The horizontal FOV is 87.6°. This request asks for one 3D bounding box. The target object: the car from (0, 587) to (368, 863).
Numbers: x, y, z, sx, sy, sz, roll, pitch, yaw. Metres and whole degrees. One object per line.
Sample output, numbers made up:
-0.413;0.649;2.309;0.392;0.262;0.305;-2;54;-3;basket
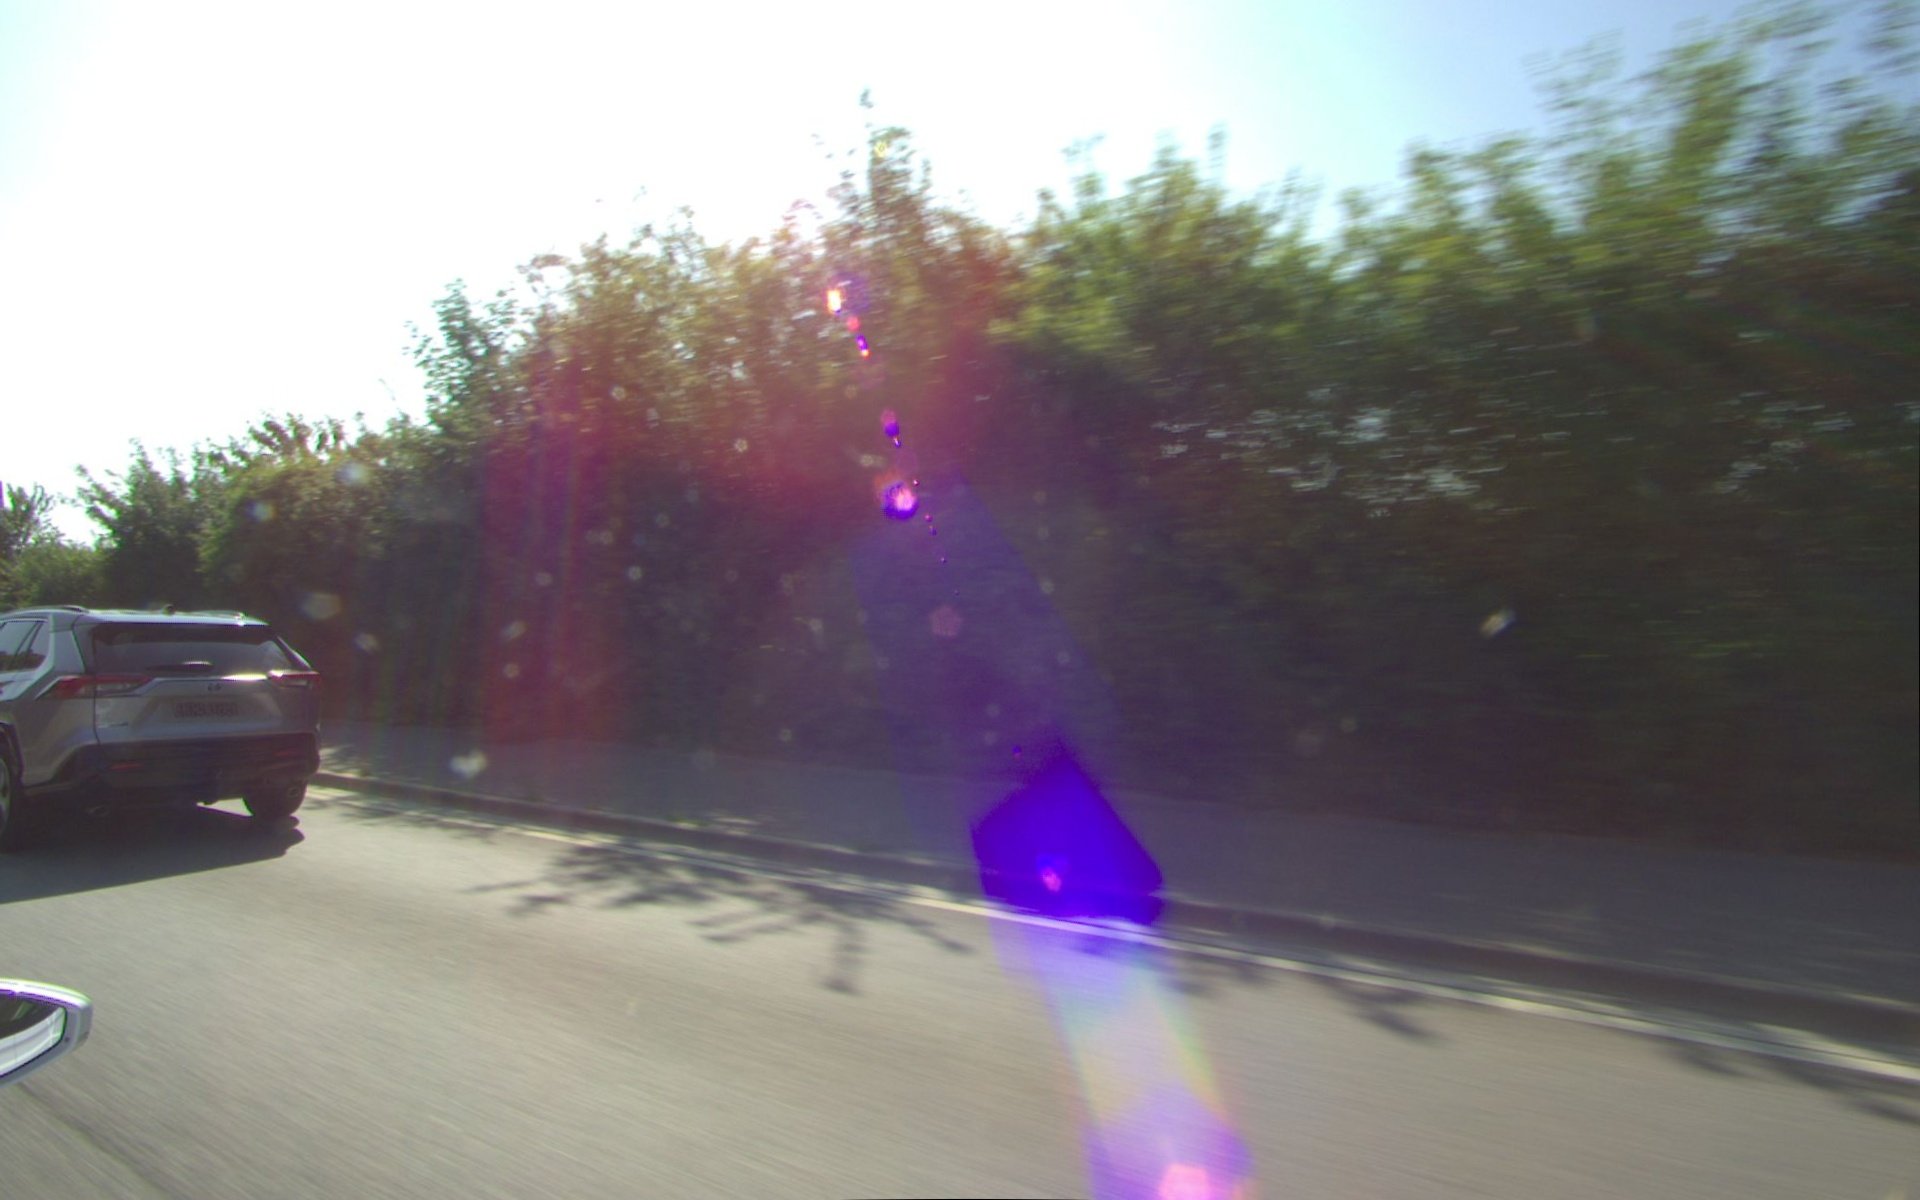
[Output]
-7.085;0.850;8.237;4.616;1.701;1.899;-1;-3;32;car
